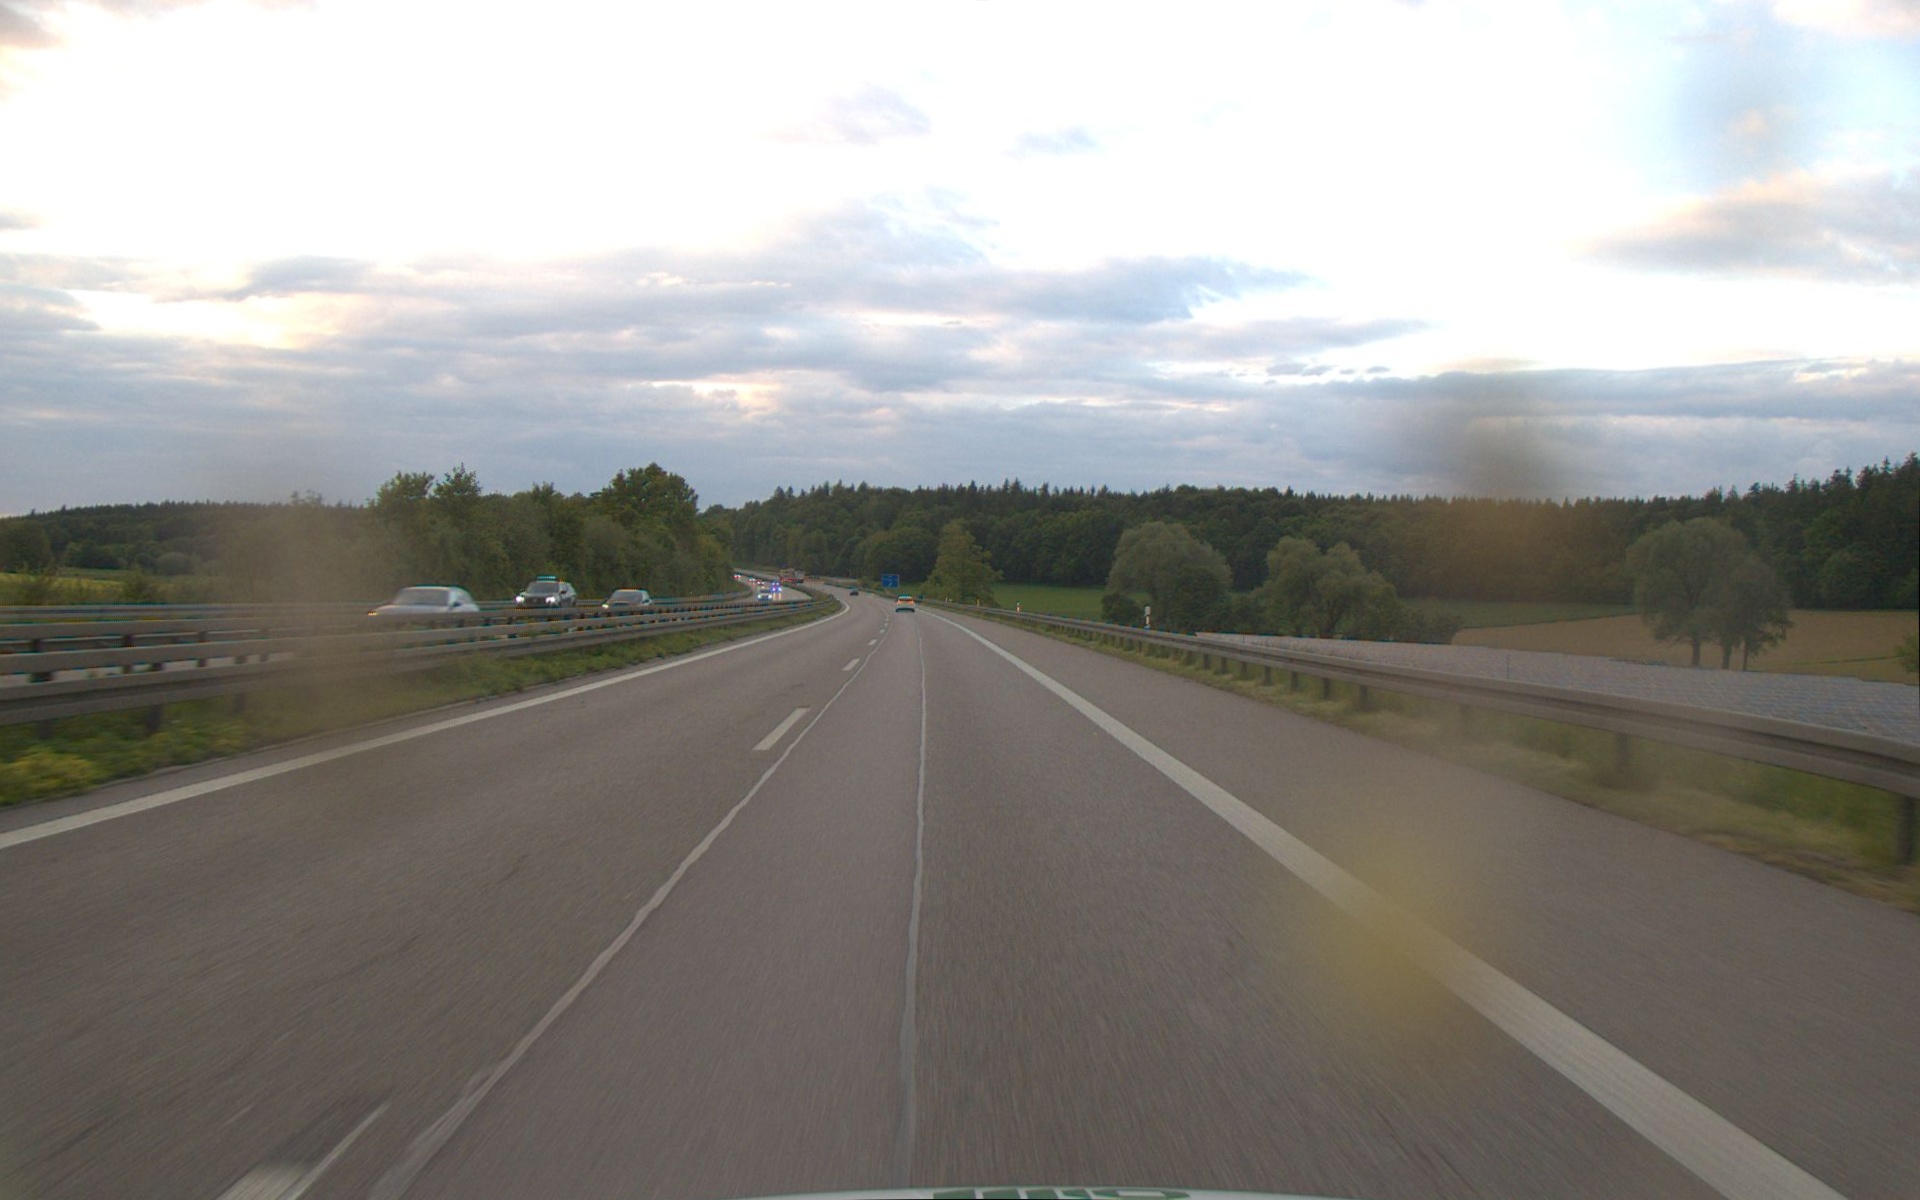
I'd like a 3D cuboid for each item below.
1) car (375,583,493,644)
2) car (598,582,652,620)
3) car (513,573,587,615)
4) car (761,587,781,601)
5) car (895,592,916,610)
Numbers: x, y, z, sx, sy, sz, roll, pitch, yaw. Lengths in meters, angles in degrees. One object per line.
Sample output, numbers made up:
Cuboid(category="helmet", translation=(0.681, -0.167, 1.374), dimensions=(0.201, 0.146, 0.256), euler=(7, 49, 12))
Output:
Cuboid(category="car", translation=(-13.422, 0.303, 42.442), dimensions=(1.535, 1.389, 4.619), euler=(3, 1, -1))
Cuboid(category="car", translation=(-14.325, -0.001, 70.923), dimensions=(1.627, 1.465, 4.128), euler=(3, 1, -4))
Cuboid(category="car", translation=(-18.212, -0.292, 73.769), dimensions=(1.848, 1.723, 5.768), euler=(3, 1, -1))
Cuboid(category="car", translation=(-24.762, -0.820, 216.678), dimensions=(1.953, 1.655, 5.734), euler=(3, 1, -1))
Cuboid(category="car", translation=(-5.296, 0.126, 159.564), dimensions=(1.913, 1.558, 4.078), euler=(3, 1, -3))
